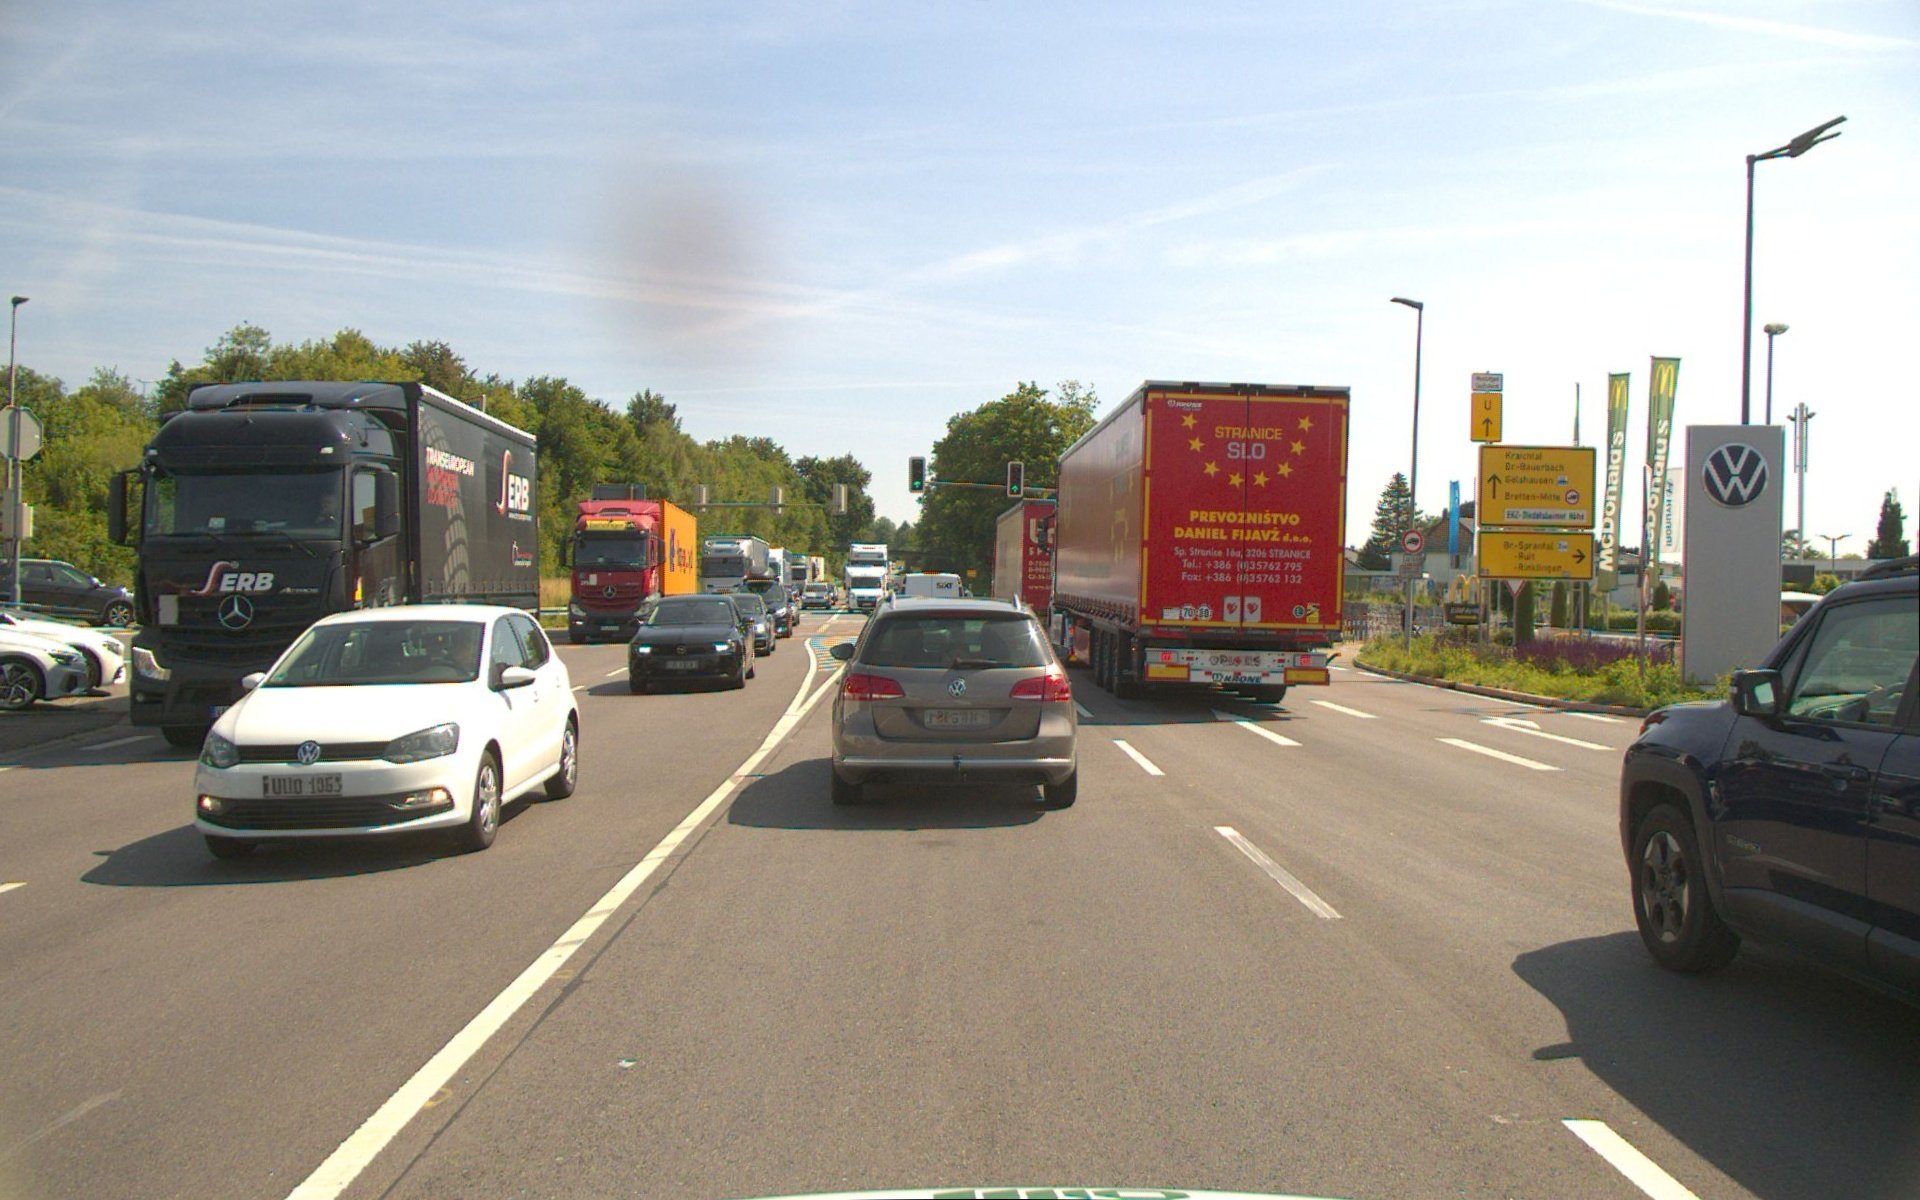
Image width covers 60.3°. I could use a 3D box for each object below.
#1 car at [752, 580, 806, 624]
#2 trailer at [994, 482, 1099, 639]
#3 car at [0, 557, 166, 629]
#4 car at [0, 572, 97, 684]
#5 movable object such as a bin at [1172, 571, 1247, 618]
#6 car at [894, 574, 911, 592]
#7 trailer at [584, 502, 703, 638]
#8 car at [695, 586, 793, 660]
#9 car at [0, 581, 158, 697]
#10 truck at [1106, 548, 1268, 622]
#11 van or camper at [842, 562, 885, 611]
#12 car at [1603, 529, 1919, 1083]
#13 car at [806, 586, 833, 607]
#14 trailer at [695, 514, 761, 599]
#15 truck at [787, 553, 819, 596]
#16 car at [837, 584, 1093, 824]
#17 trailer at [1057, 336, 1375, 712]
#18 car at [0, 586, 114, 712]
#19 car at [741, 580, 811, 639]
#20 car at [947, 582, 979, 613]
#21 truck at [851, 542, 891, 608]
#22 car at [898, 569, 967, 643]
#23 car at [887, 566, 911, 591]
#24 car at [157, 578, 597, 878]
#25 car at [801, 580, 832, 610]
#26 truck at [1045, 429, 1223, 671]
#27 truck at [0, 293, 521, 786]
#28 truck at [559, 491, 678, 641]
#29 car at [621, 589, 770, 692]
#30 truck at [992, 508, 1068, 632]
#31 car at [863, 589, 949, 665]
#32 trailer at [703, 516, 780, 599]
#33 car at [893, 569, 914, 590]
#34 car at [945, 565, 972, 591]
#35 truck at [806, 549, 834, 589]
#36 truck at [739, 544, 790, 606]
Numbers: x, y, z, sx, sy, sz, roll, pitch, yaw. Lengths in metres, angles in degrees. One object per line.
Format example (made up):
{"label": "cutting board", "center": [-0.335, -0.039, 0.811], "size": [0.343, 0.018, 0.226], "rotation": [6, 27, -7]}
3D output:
{"label": "car", "center": [-7.240, 0.046, 66.587], "size": [1.883, 1.630, 4.586], "rotation": [-1, 1, -3]}
{"label": "trailer", "center": [2.508, -1.142, 52.100], "size": [2.346, 4.317, 13.075], "rotation": [0, 0, -1]}
{"label": "car", "center": [-21.943, -0.189, 39.923], "size": [1.883, 1.554, 4.604], "rotation": [3, -1, 44]}
{"label": "car", "center": [-15.643, 0.341, 24.428], "size": [4.758, 1.654, 1.902], "rotation": [4, -2, -43]}
{"label": "movable object such as a bin", "center": [18.245, -0.413, 120.514], "size": [2.841, 3.264, 6.684], "rotation": [0, 0, 34]}
{"label": "car", "center": [-6.746, -1.961, 193.789], "size": [1.954, 2.049, 3.997], "rotation": [0, 0, -3]}
{"label": "trailer", "center": [-10.412, -0.951, 55.597], "size": [2.667, 4.068, 12.222], "rotation": [0, 0, -5]}
{"label": "car", "center": [-5.011, 0.495, 38.868], "size": [1.824, 1.550, 4.587], "rotation": [-1, 1, -2]}
{"label": "car", "center": [-13.894, 0.483, 22.864], "size": [4.675, 1.539, 1.926], "rotation": [4, -1, -42]}
{"label": "truck", "center": [14.106, -0.898, 102.657], "size": [9.527, 3.691, 2.752], "rotation": [5, -1, -20]}
{"label": "van or camper", "center": [-5.426, -0.769, 93.996], "size": [2.284, 2.645, 6.975], "rotation": [0, 0, -2]}
{"label": "car", "center": [3.778, 0.622, 5.423], "size": [1.734, 1.683, 3.999], "rotation": [0, 0, -1]}
{"label": "car", "center": [-10.475, -0.281, 123.258], "size": [1.955, 1.511, 4.449], "rotation": [0, 0, -5]}
{"label": "trailer", "center": [-11.815, -2.178, 84.677], "size": [2.591, 4.176, 6.179], "rotation": [0, 0, -1]}
{"label": "truck", "center": [-15.264, -2.489, 161.166], "size": [2.675, 4.069, 9.613], "rotation": [0, 0, -3]}
{"label": "car", "center": [-0.082, 0.652, 12.665], "size": [1.658, 1.539, 3.997], "rotation": [0, 0, -4]}
{"label": "trailer", "center": [3.476, -0.959, 26.507], "size": [2.781, 4.441, 13.165], "rotation": [2, 0, -1]}
{"label": "car", "center": [-13.150, 0.529, 20.328], "size": [4.661, 1.501, 1.870], "rotation": [4, -1, -35]}
{"label": "car", "center": [-5.562, 0.250, 50.425], "size": [1.870, 1.630, 4.586], "rotation": [-1, 1, -3]}
{"label": "car", "center": [0.198, -0.161, 111.377], "size": [1.954, 2.049, 3.997], "rotation": [0, 0, -3]}
{"label": "truck", "center": [-5.825, -1.602, 107.705], "size": [2.487, 4.159, 6.260], "rotation": [0, 0, -4]}
{"label": "car", "center": [-0.808, 0.135, 46.238], "size": [1.735, 1.970, 3.975], "rotation": [0, 0, -4]}
{"label": "car", "center": [-5.091, -1.802, 137.805], "size": [1.954, 2.049, 3.997], "rotation": [0, 0, -3]}
{"label": "car", "center": [-3.621, 0.684, 11.046], "size": [1.620, 1.583, 3.998], "rotation": [-2, 0, -2]}
{"label": "car", "center": [-9.222, -0.337, 106.612], "size": [1.806, 1.763, 4.586], "rotation": [2, 1, -3]}
{"label": "truck", "center": [3.350, -0.937, 33.284], "size": [2.811, 4.355, 5.838], "rotation": [2, 0, 0]}
{"label": "truck", "center": [-7.318, -0.538, 18.689], "size": [2.657, 4.068, 9.969], "rotation": [0, 0, -4]}
{"label": "truck", "center": [-9.778, -0.952, 47.952], "size": [2.667, 4.068, 6.051], "rotation": [0, 0, -5]}
{"label": "car", "center": [-4.166, 0.589, 26.698], "size": [1.677, 1.469, 4.378], "rotation": [-2, 0, 0]}
{"label": "truck", "center": [2.425, -1.036, 58.916], "size": [2.357, 4.200, 5.520], "rotation": [0, 0, -1]}
{"label": "car", "center": [-1.218, 0.532, 35.653], "size": [1.735, 1.539, 3.997], "rotation": [0, 0, -4]}
{"label": "trailer", "center": [-11.919, -2.220, 91.399], "size": [2.637, 4.220, 13.877], "rotation": [0, 0, -1]}
{"label": "car", "center": [-5.537, -1.975, 160.655], "size": [1.954, 2.049, 3.997], "rotation": [0, 0, -3]}
{"label": "car", "center": [-0.139, -1.781, 134.614], "size": [1.954, 2.049, 3.997], "rotation": [0, 0, -3]}
{"label": "truck", "center": [-15.108, -3.304, 179.233], "size": [2.773, 4.188, 9.675], "rotation": [0, 0, -4]}
{"label": "truck", "center": [-13.503, -1.724, 114.499], "size": [3.124, 4.151, 6.341], "rotation": [0, 0, -4]}
